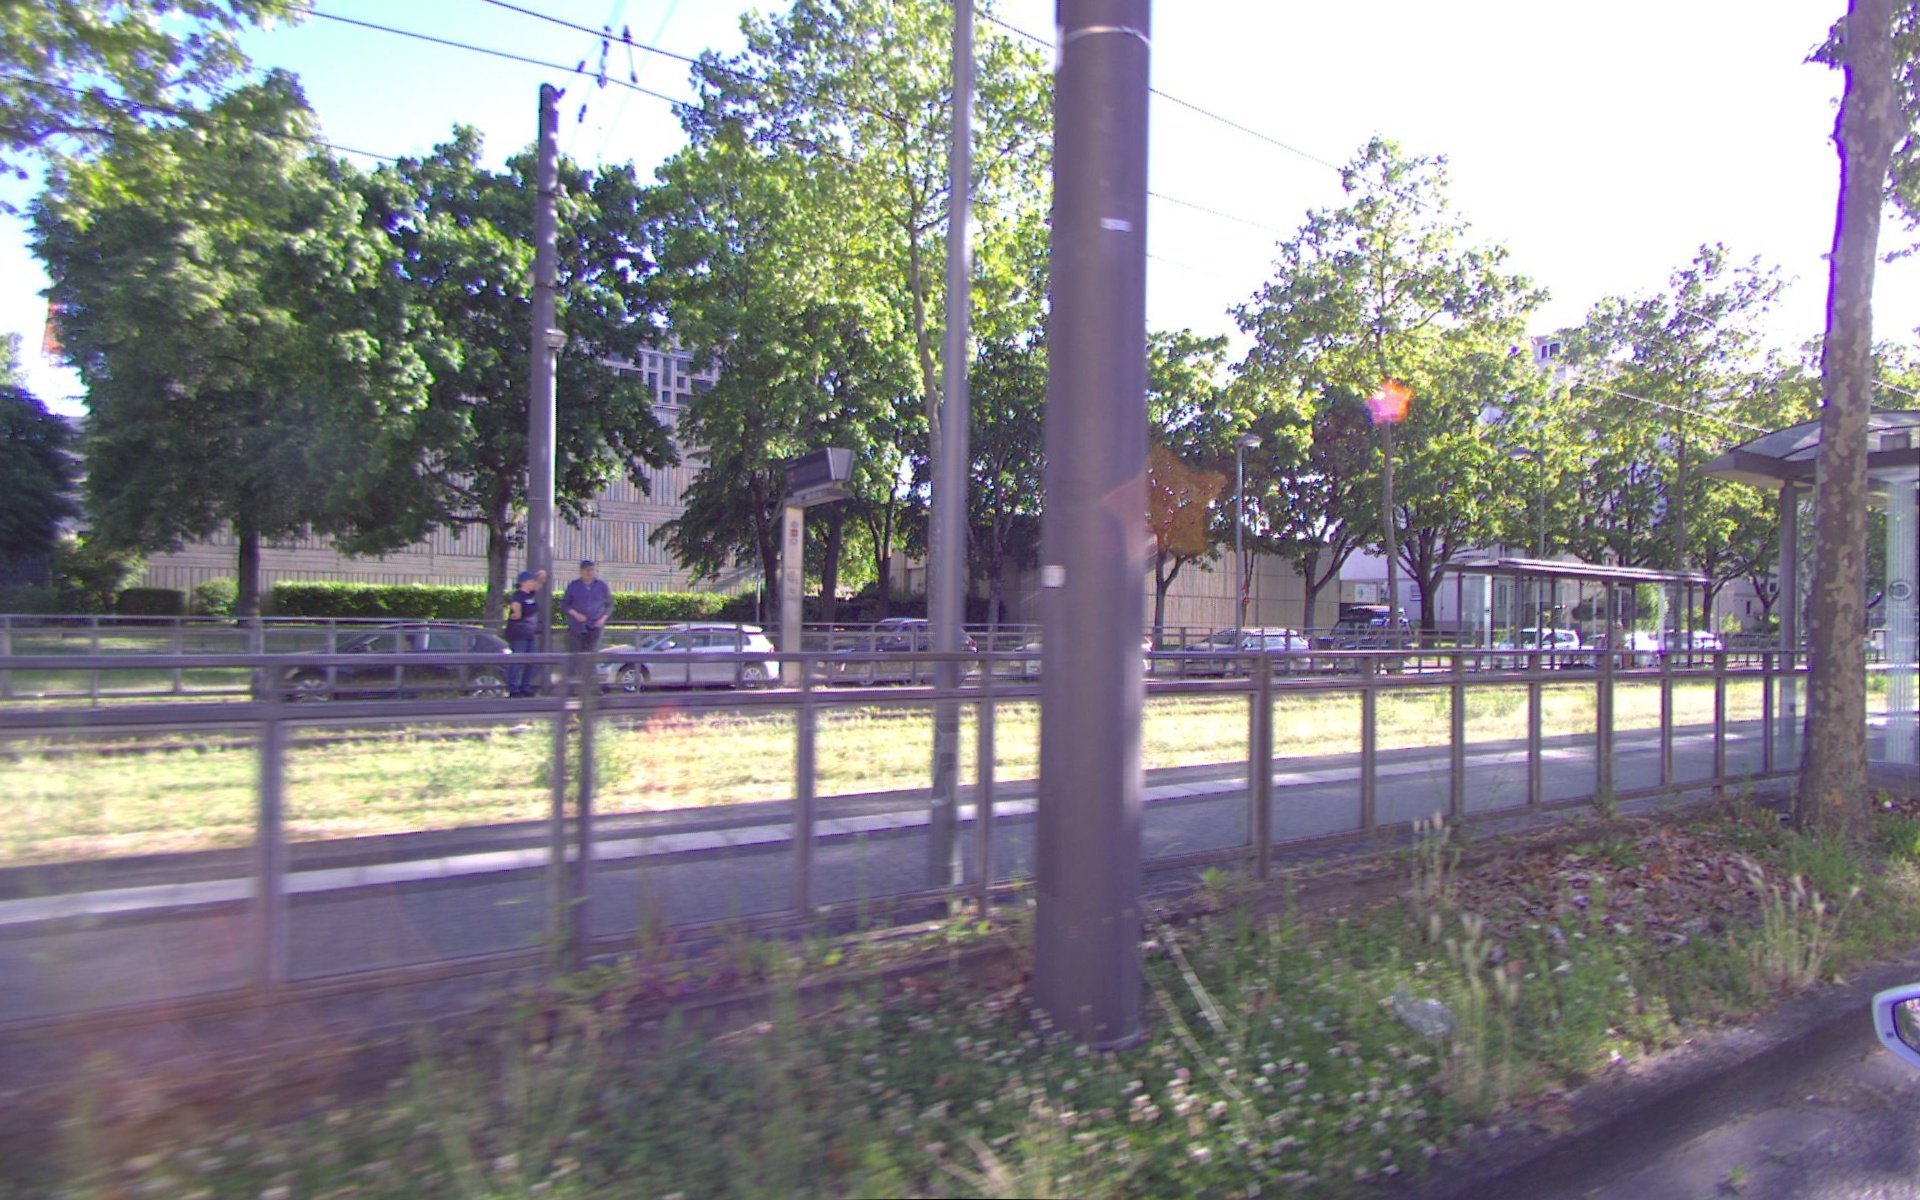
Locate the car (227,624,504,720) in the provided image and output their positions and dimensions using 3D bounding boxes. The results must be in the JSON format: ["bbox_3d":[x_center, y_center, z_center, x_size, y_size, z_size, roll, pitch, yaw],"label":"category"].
[{"bbox_3d":[-9.961,1.162,17.106,3.883,1.463,1.587,1,-1,-30],"label":"car"}]

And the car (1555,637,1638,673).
[{"bbox_3d":[23.343,1.993,36.800,3.338,1.258,1.256,1,-1,-32],"label":"car"}]

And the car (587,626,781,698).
[{"bbox_3d":[-6.093,1.325,22.271,3.883,1.463,1.587,1,-1,-30],"label":"car"}]

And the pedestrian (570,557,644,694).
[{"bbox_3d":[-4.604,0.326,13.084,0.745,1.712,0.879,1,0,-29],"label":"pedestrian"}]

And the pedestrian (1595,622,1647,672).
[{"bbox_3d":[17.579,1.236,26.732,0.784,1.277,0.840,1,0,-1],"label":"pedestrian"}]

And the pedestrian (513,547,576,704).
[{"bbox_3d":[-5.201,0.310,12.565,0.629,1.892,0.717,1,0,-29],"label":"pedestrian"}]

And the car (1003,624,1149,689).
[{"bbox_3d":[3.228,1.513,27.717,3.885,1.657,1.586,1,-1,-31],"label":"car"}]

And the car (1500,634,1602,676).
[{"bbox_3d":[23.126,2.126,39.290,3.884,1.566,1.707,1,-1,-28],"label":"car"}]

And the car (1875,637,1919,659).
[{"bbox_3d":[57.655,2.854,60.148,3.749,1.263,1.841,0,-1,18],"label":"car"}]

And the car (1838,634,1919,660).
[{"bbox_3d":[54.304,2.773,58.921,3.747,1.454,1.842,0,-1,11],"label":"car"}]

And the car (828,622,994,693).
[{"bbox_3d":[-1.196,1.391,25.202,3.883,1.654,1.587,1,-1,-30],"label":"car"}]

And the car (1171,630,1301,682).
[{"bbox_3d":[8.541,1.699,31.014,3.974,1.508,1.586,1,-1,-31],"label":"car"}]

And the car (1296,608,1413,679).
[{"bbox_3d":[13.362,1.448,33.962,3.888,2.292,1.705,1,-1,-31],"label":"car"}]
